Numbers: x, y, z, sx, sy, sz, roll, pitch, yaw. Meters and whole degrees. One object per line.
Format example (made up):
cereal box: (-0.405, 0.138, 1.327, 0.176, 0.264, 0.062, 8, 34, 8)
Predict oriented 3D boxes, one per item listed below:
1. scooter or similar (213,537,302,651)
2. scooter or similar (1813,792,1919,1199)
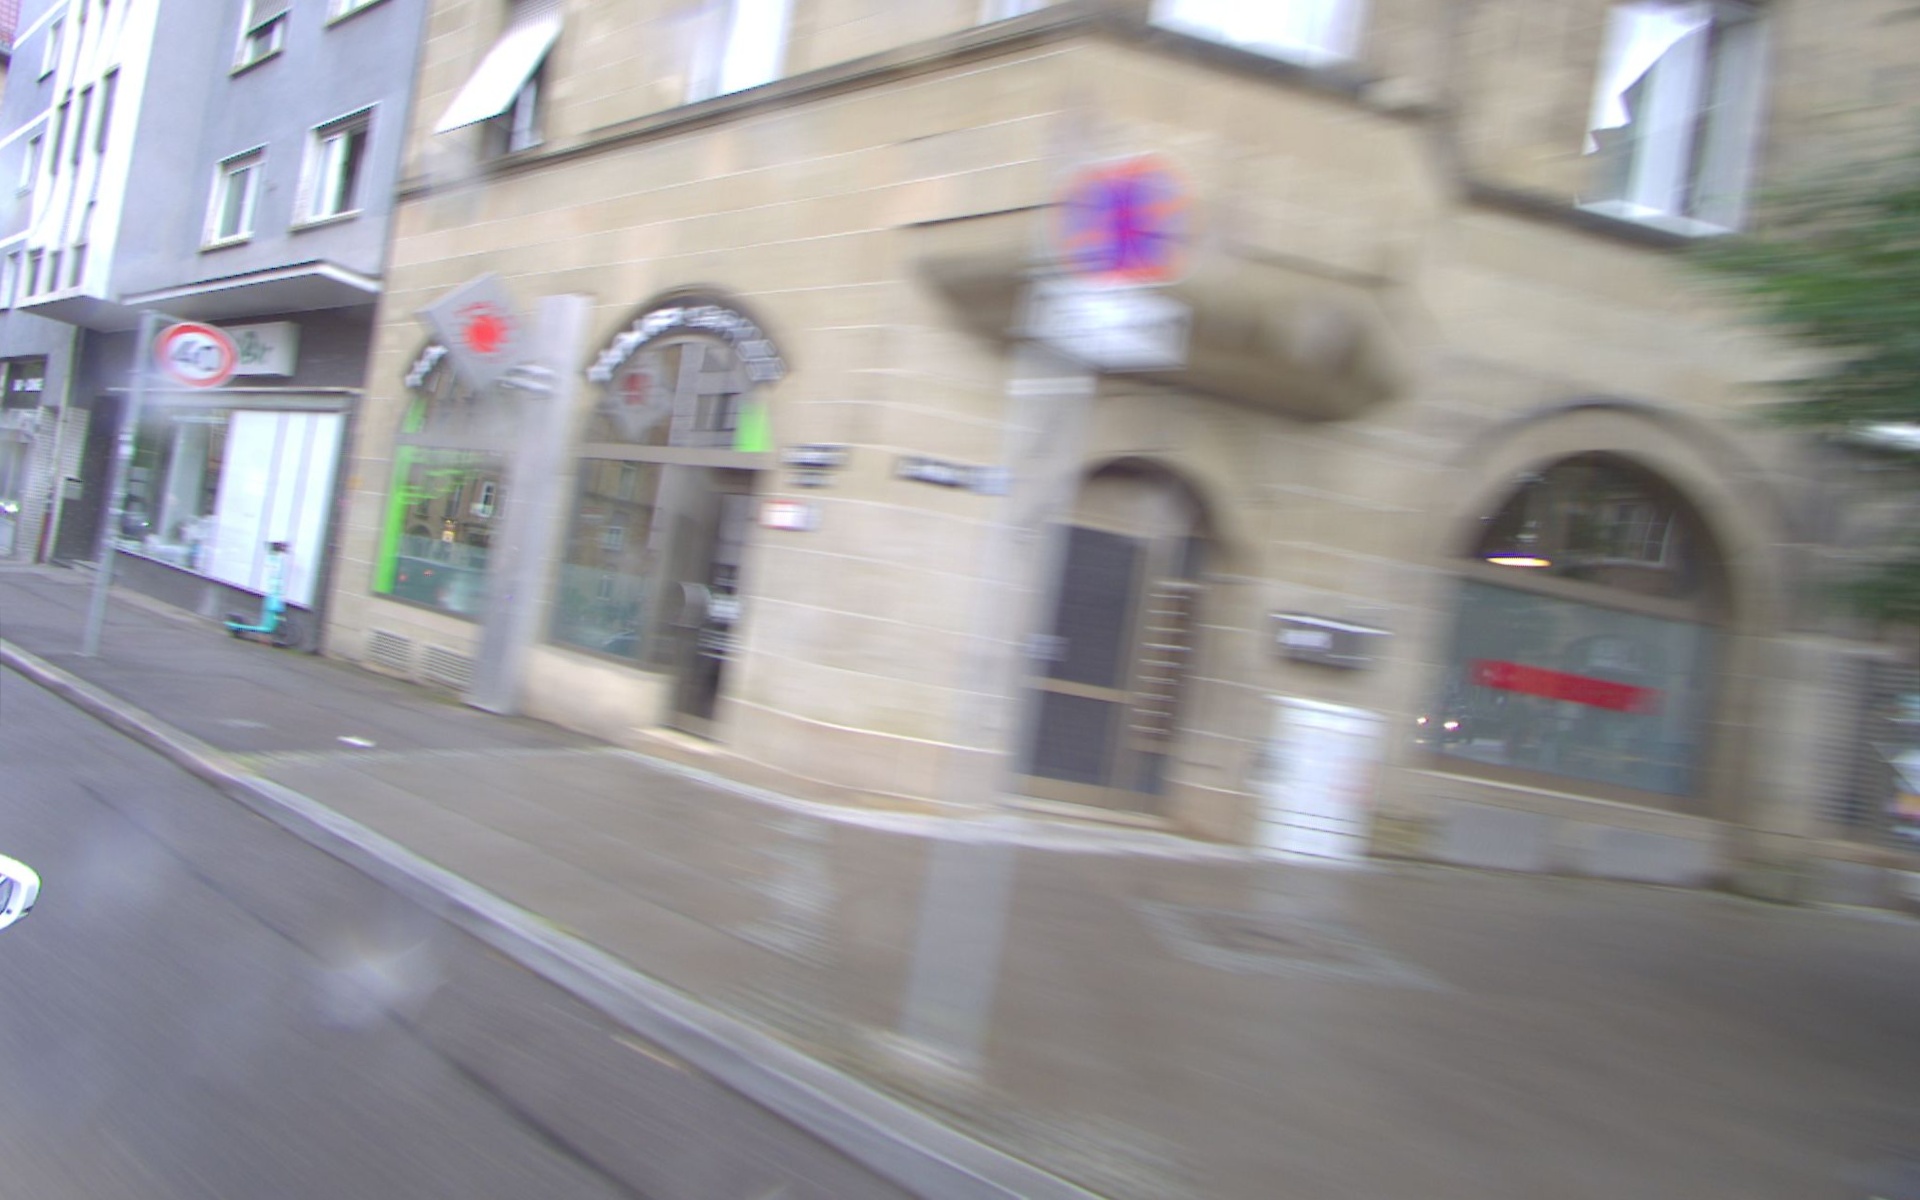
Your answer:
scooter or similar: (-8.478, -0.079, 12.134, 1.089, 1.230, 0.395, 8, -1, 35)
scooter or similar: (3.201, 1.252, 2.441, 1.527, 1.224, 0.639, 7, 0, 32)
